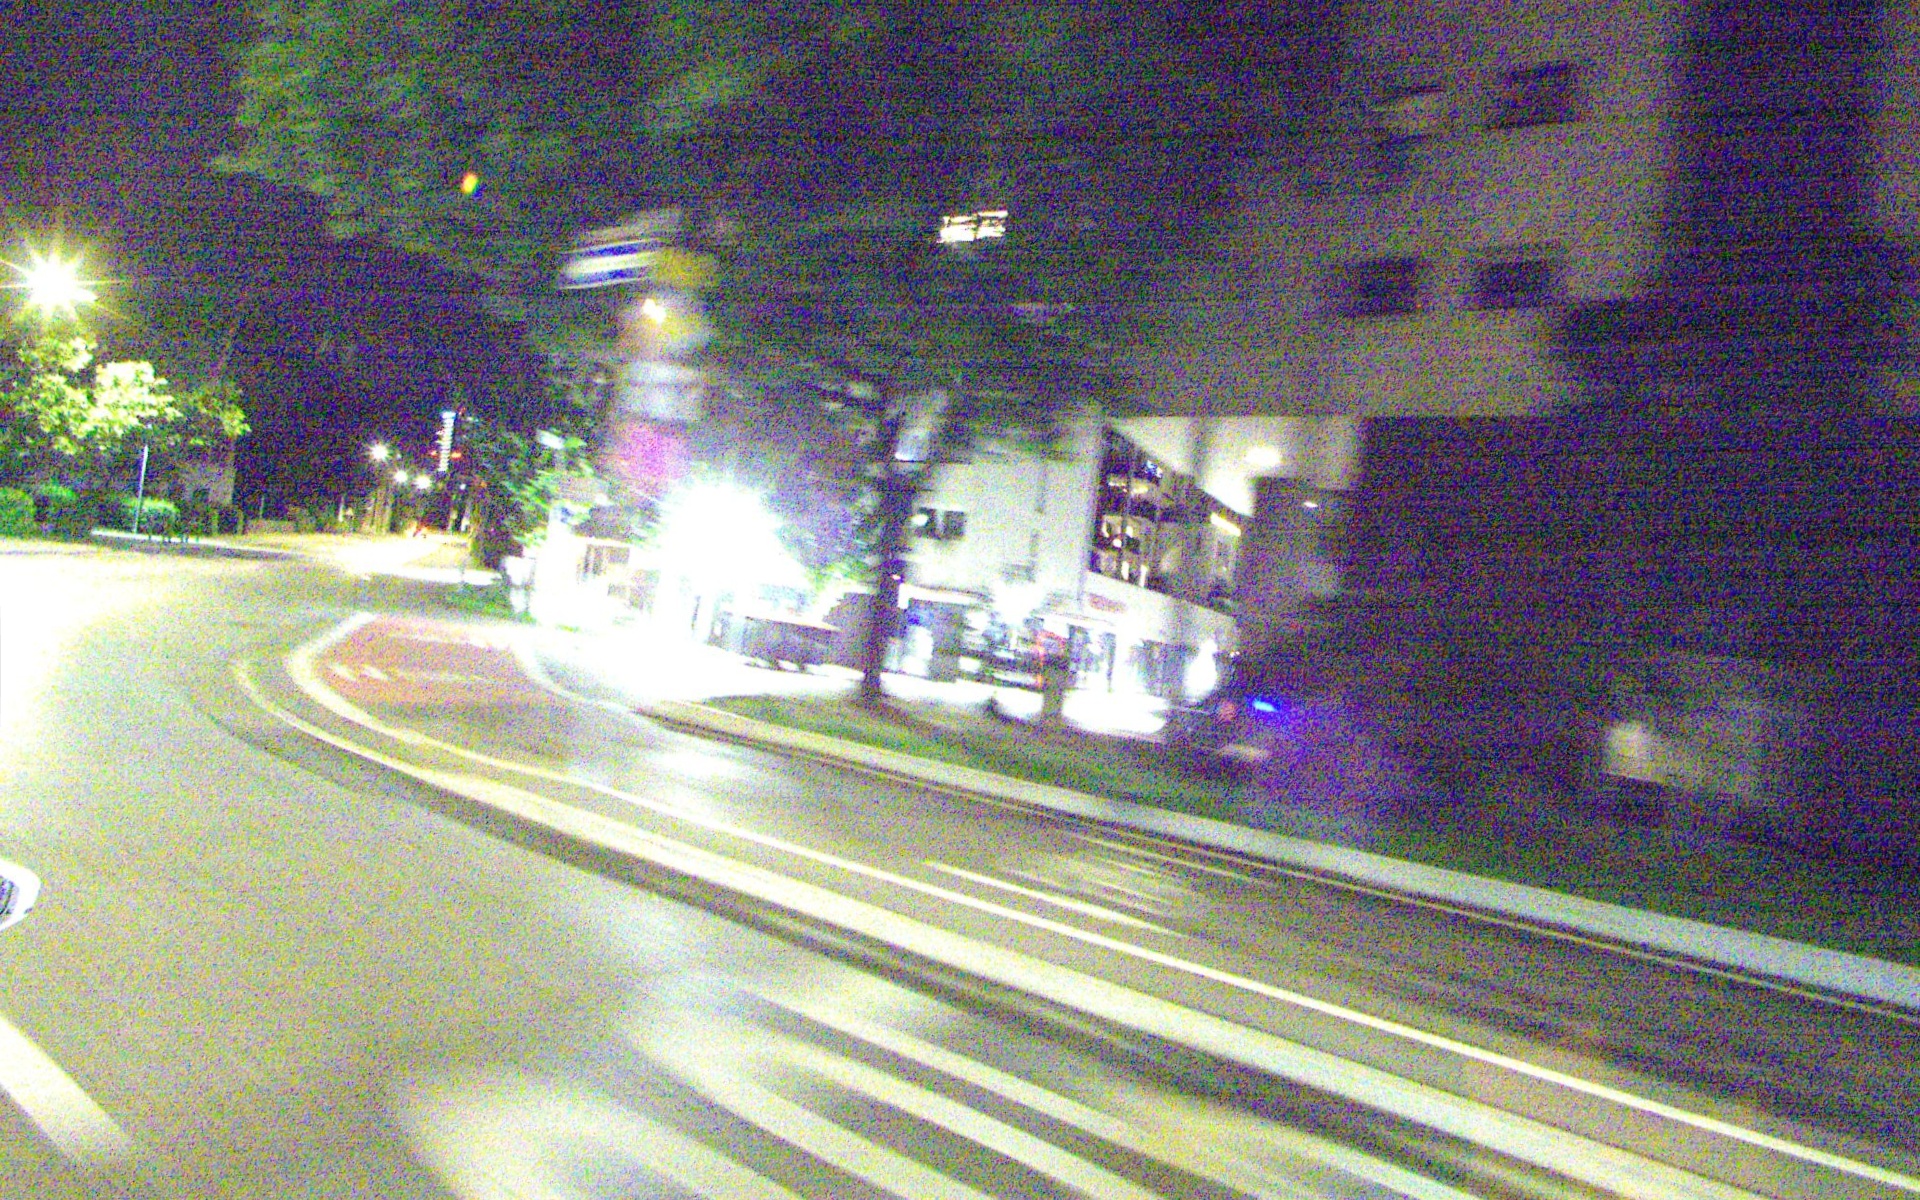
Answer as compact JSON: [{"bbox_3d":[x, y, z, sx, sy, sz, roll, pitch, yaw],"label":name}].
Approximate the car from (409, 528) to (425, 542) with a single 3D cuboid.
[{"bbox_3d":[-89.450,-10.723,165.788,1.907,1.876,3.976,7,-1,-26],"label":"car"}]
